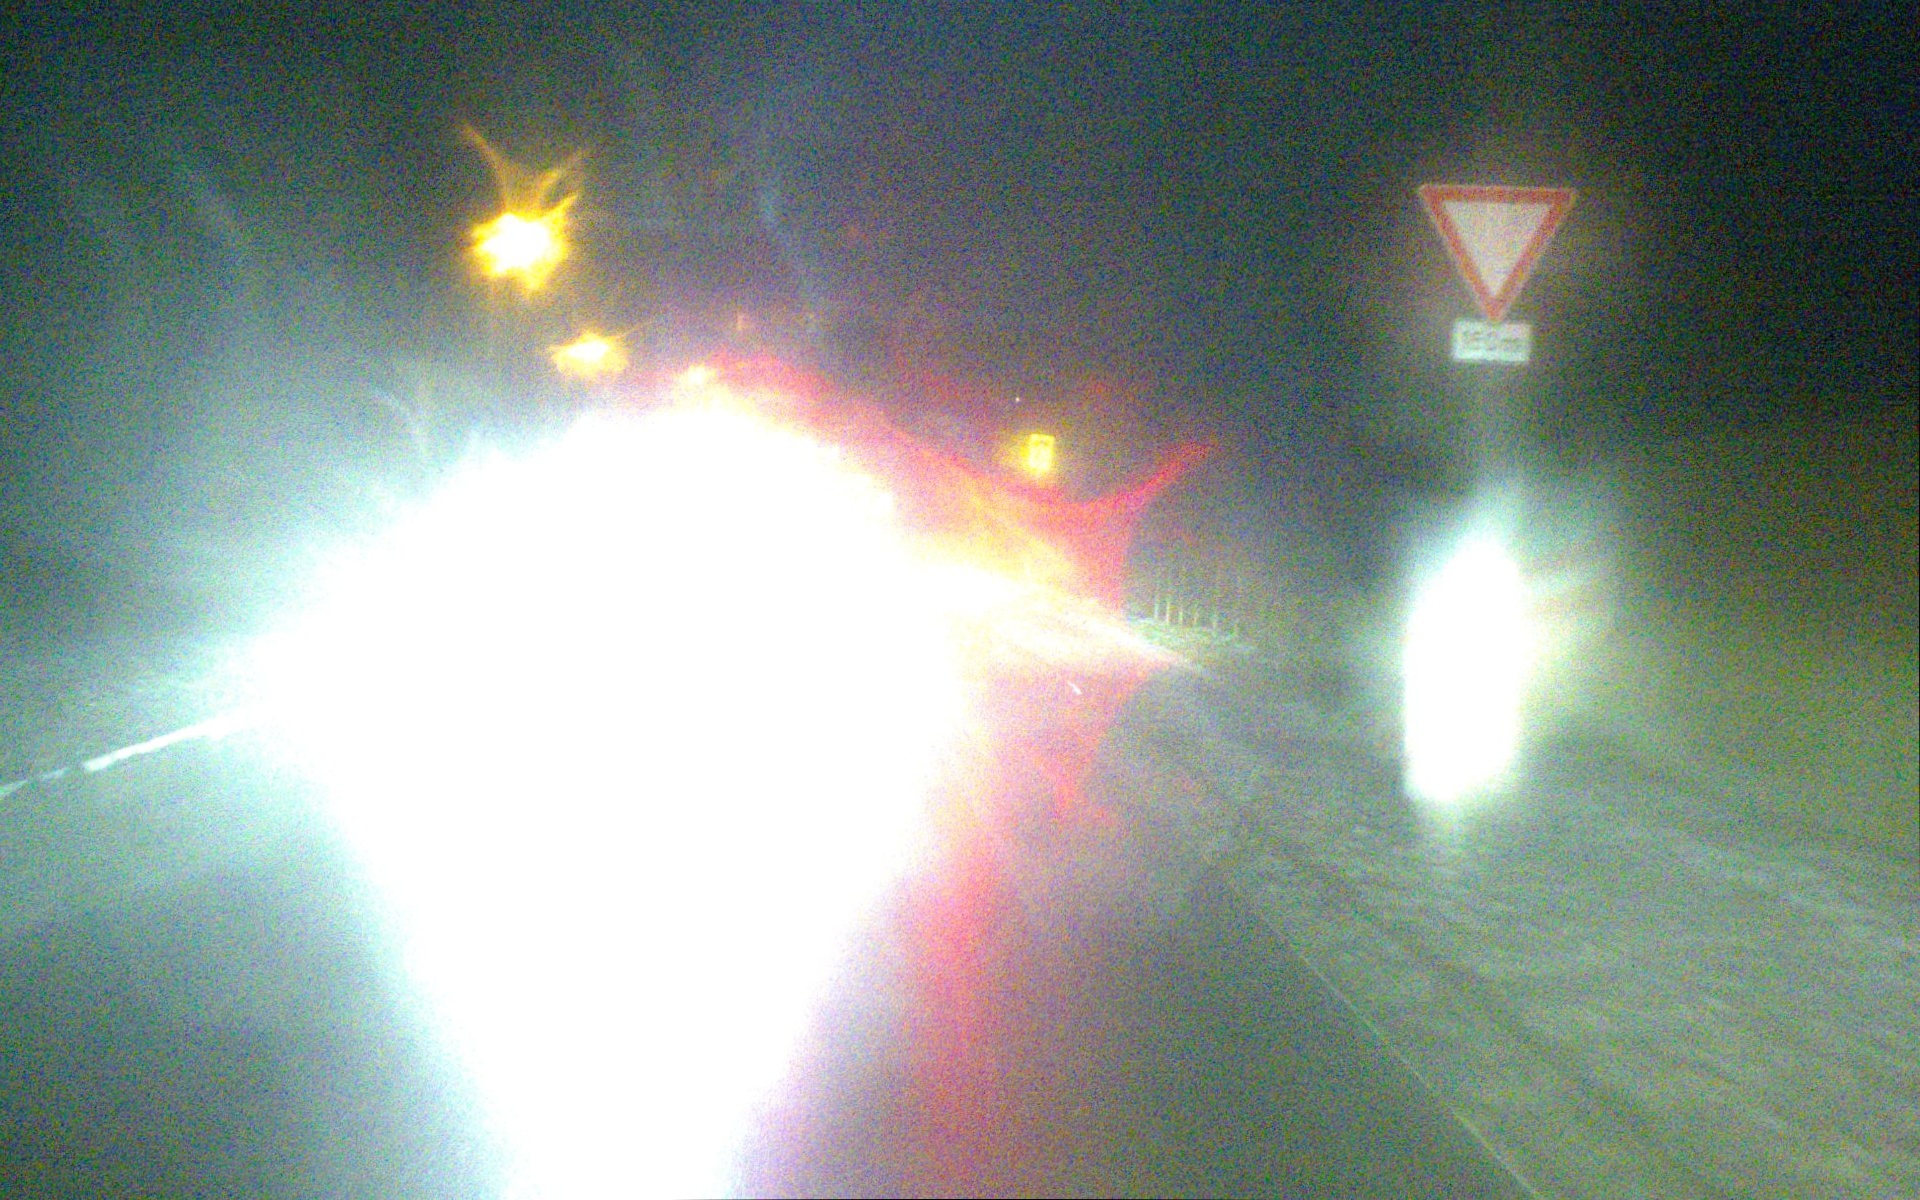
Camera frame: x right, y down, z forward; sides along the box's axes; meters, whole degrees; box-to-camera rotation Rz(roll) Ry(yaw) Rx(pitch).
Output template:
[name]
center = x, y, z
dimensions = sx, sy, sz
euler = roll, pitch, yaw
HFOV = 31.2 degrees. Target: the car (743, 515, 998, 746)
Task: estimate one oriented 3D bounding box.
[car]
center = -0.671, 0.229, 26.965
dimensions = 1.801, 1.623, 3.615
euler = 2, 0, 0
